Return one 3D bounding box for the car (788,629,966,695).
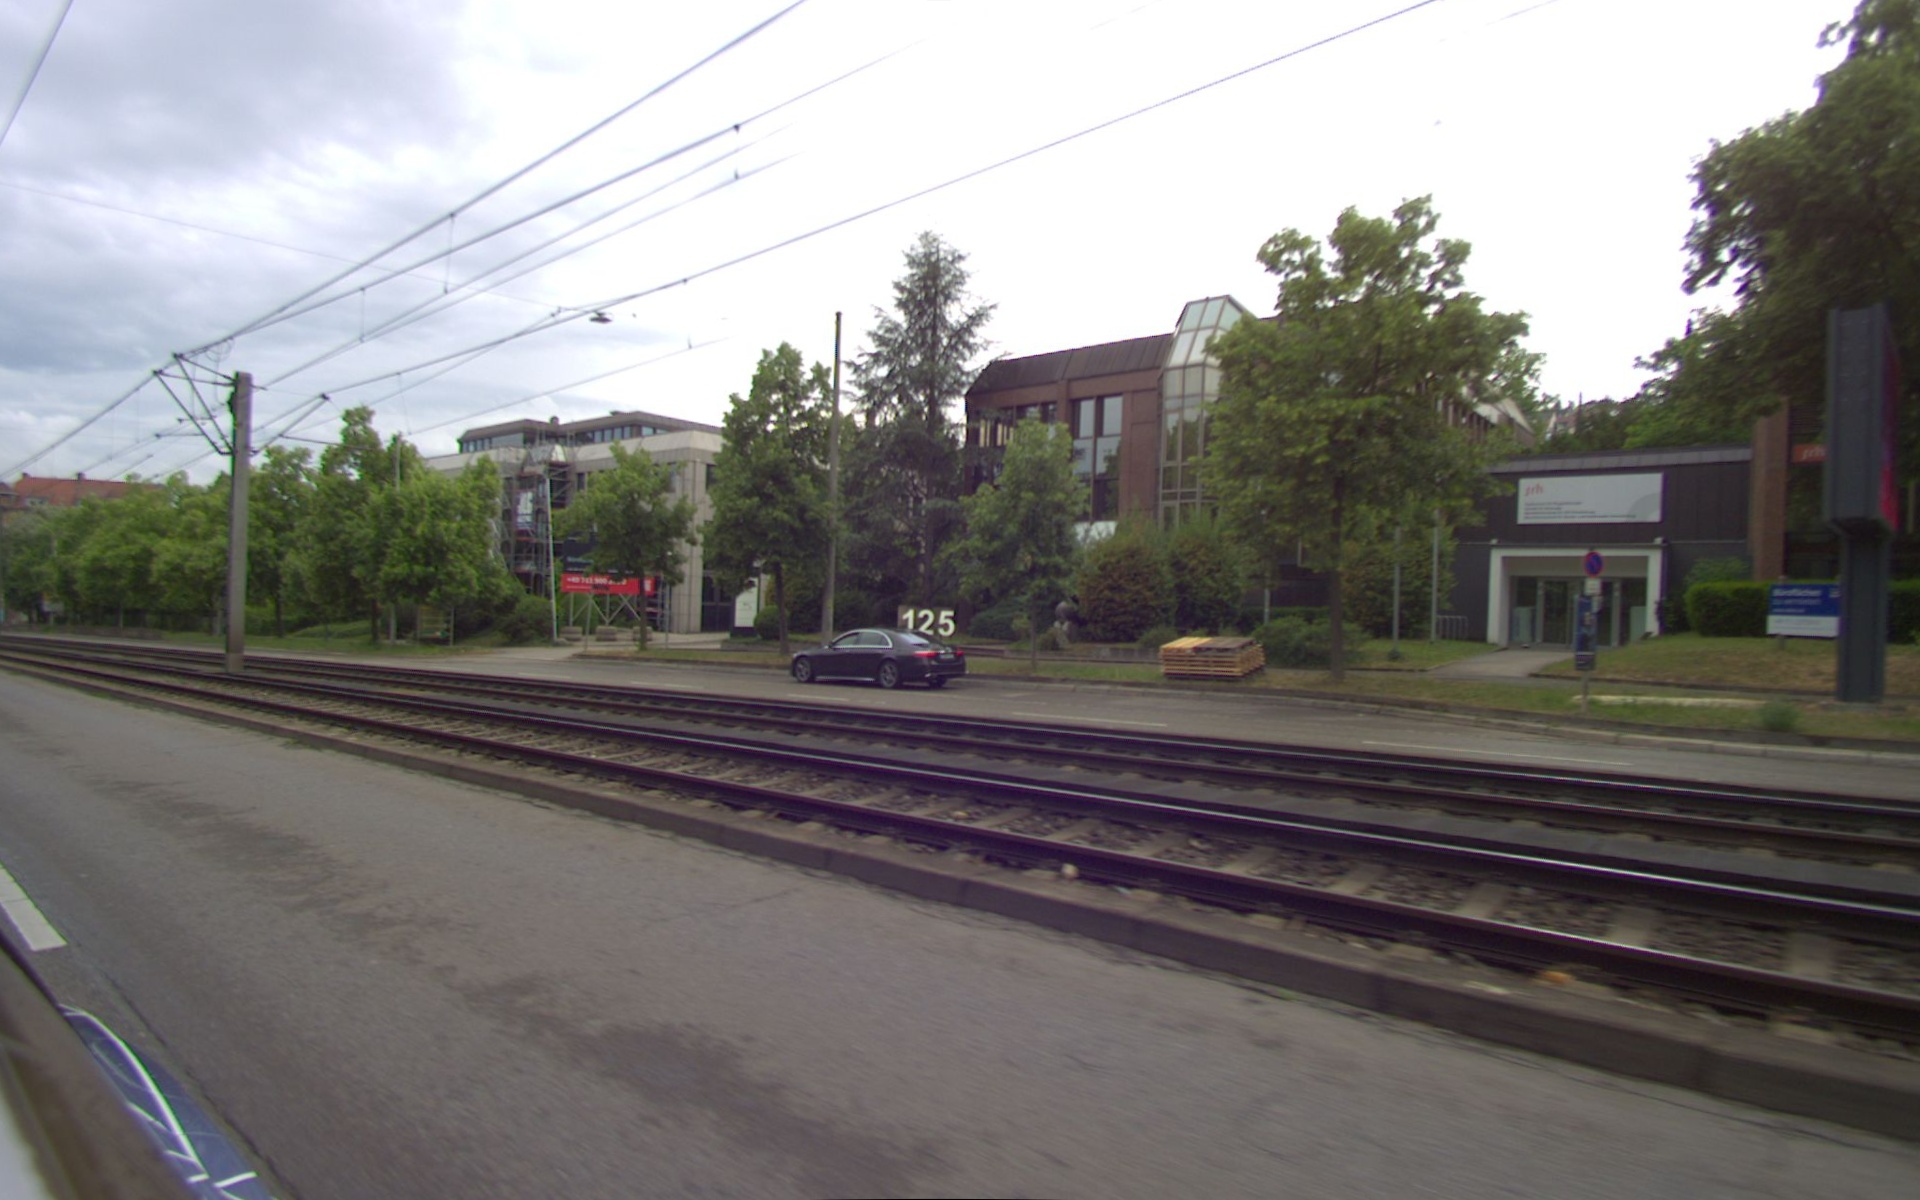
[{"bbox_3d":[-2.196,1.516,25.986,4.617,1.542,1.777,-1,-2,39],"label":"car"}]

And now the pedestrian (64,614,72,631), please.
[{"bbox_3d":[-105.086,2.627,119.257,0.653,1.917,0.590,-1,-1,37],"label":"pedestrian"}]
